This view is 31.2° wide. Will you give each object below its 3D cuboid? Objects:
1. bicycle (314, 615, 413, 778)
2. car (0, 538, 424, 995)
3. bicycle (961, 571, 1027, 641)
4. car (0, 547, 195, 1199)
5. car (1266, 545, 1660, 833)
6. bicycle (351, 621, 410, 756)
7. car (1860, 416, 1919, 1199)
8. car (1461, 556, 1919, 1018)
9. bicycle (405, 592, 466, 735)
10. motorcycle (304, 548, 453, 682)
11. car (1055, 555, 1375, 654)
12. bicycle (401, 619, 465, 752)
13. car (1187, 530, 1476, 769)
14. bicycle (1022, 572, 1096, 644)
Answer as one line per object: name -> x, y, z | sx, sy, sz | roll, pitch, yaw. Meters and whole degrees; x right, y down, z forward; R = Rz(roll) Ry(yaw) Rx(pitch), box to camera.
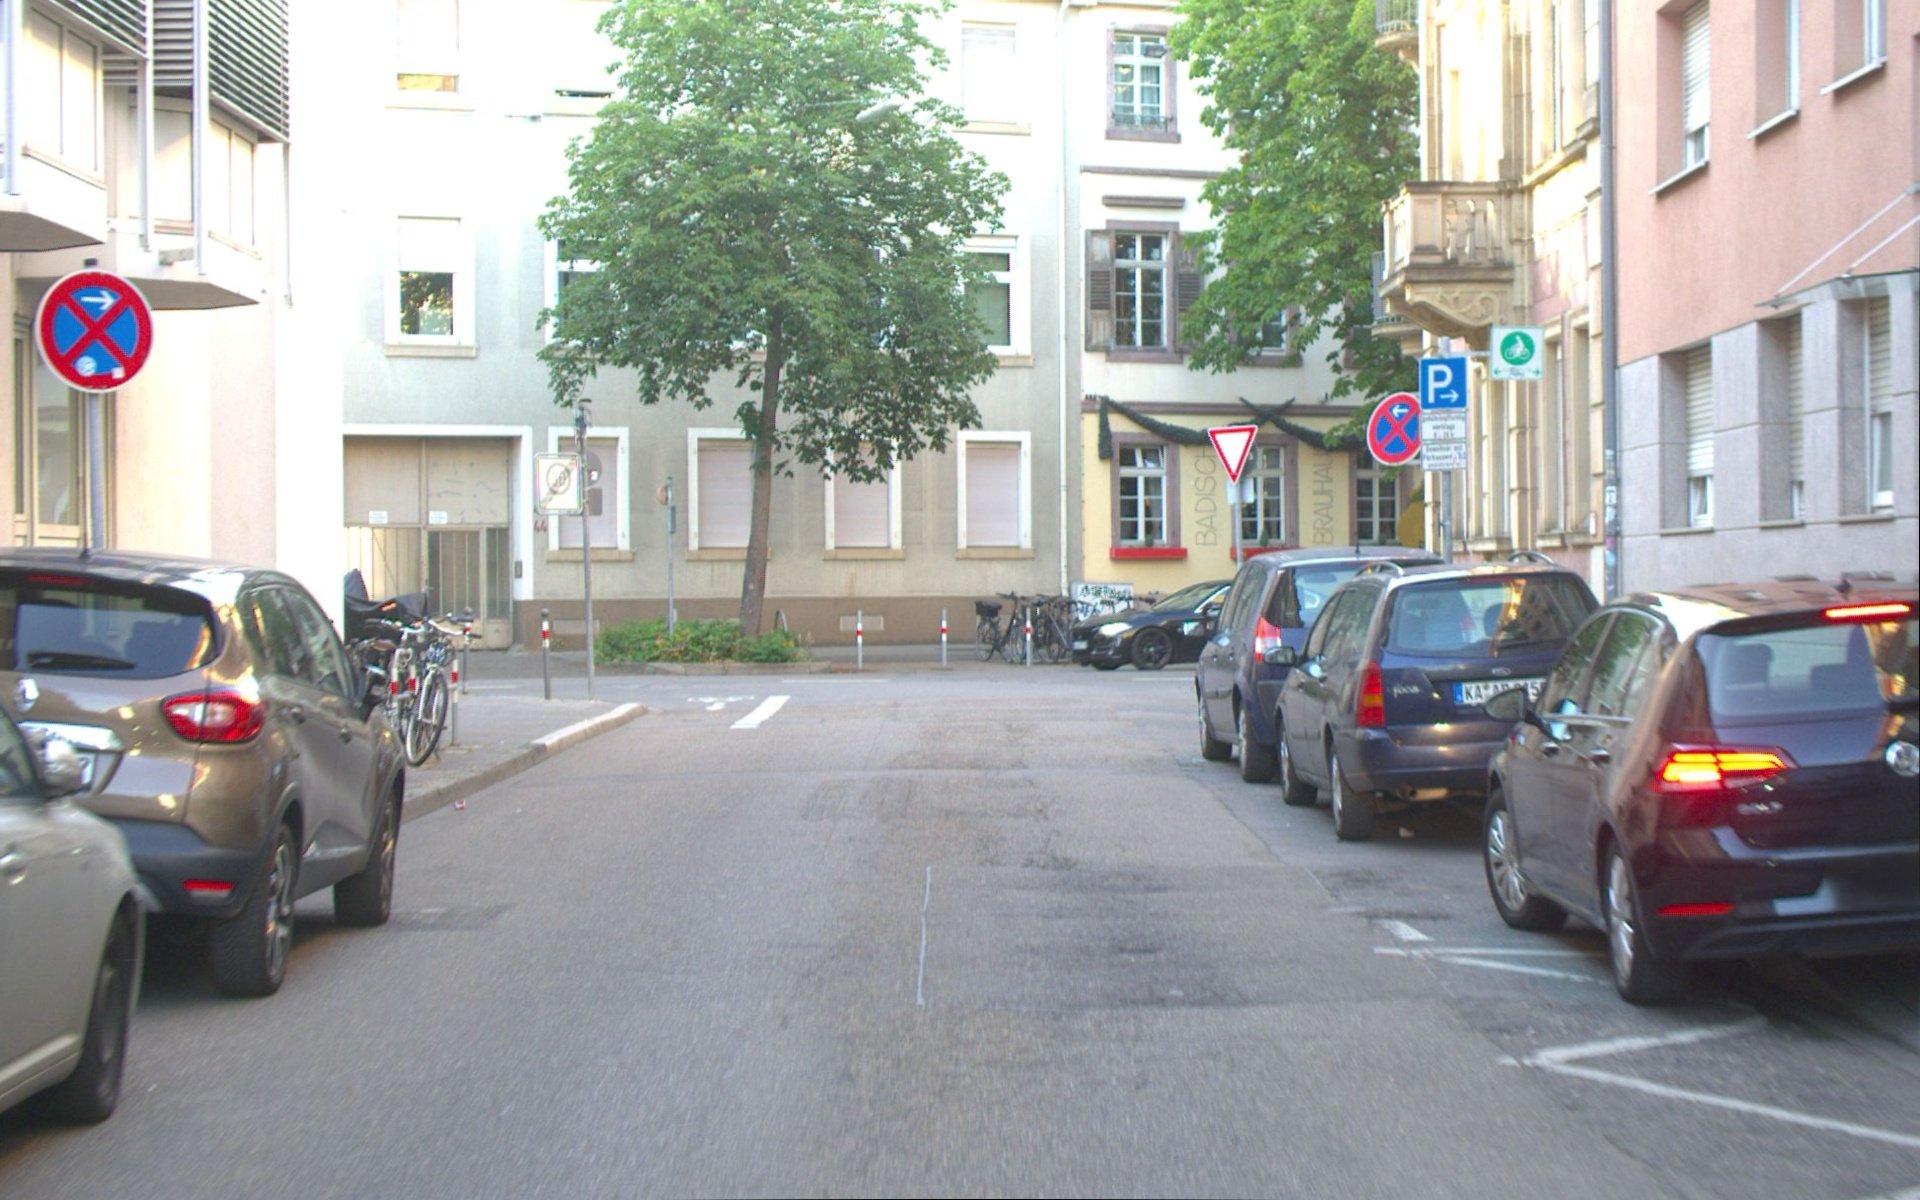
bicycle -> -4.114, 0.648, 23.788 | 0.307, 1.039, 1.813 | -1, 1, 1
car -> -3.322, 0.542, 13.849 | 1.790, 1.571, 4.071 | 0, 1, -2
bicycle -> 0.566, 0.093, 57.690 | 0.445, 1.141, 2.043 | -1, 1, -18
car -> -3.113, 0.649, 7.994 | 1.790, 1.534, 4.435 | 0, 1, -2
car -> 2.837, 0.432, 20.220 | 1.689, 1.508, 4.283 | 0, 1, 0
bicycle -> -4.315, 0.641, 25.642 | 0.307, 0.929, 1.813 | 0, 1, -5
car -> 2.664, 0.543, 4.884 | 1.689, 1.735, 4.109 | 0, 1, 0
car -> 3.045, 0.569, 13.004 | 1.689, 1.453, 4.132 | 0, 1, 0
bicycle -> -4.273, 0.501, 28.050 | 0.400, 1.098, 1.813 | 0, 1, -6
motorcycle -> -6.942, 0.169, 40.955 | 0.667, 1.550, 2.161 | -1, 1, -42
car -> 3.974, 0.056, 53.649 | 4.651, 1.445, 1.768 | -1, 1, -21
bicycle -> -3.987, 0.630, 26.069 | 0.307, 0.929, 1.813 | 0, 1, -3
car -> 2.659, 0.305, 25.393 | 1.689, 1.619, 4.055 | 0, 1, 0
bicycle -> 1.608, 0.125, 56.155 | 0.445, 1.141, 2.043 | -1, 1, -21
